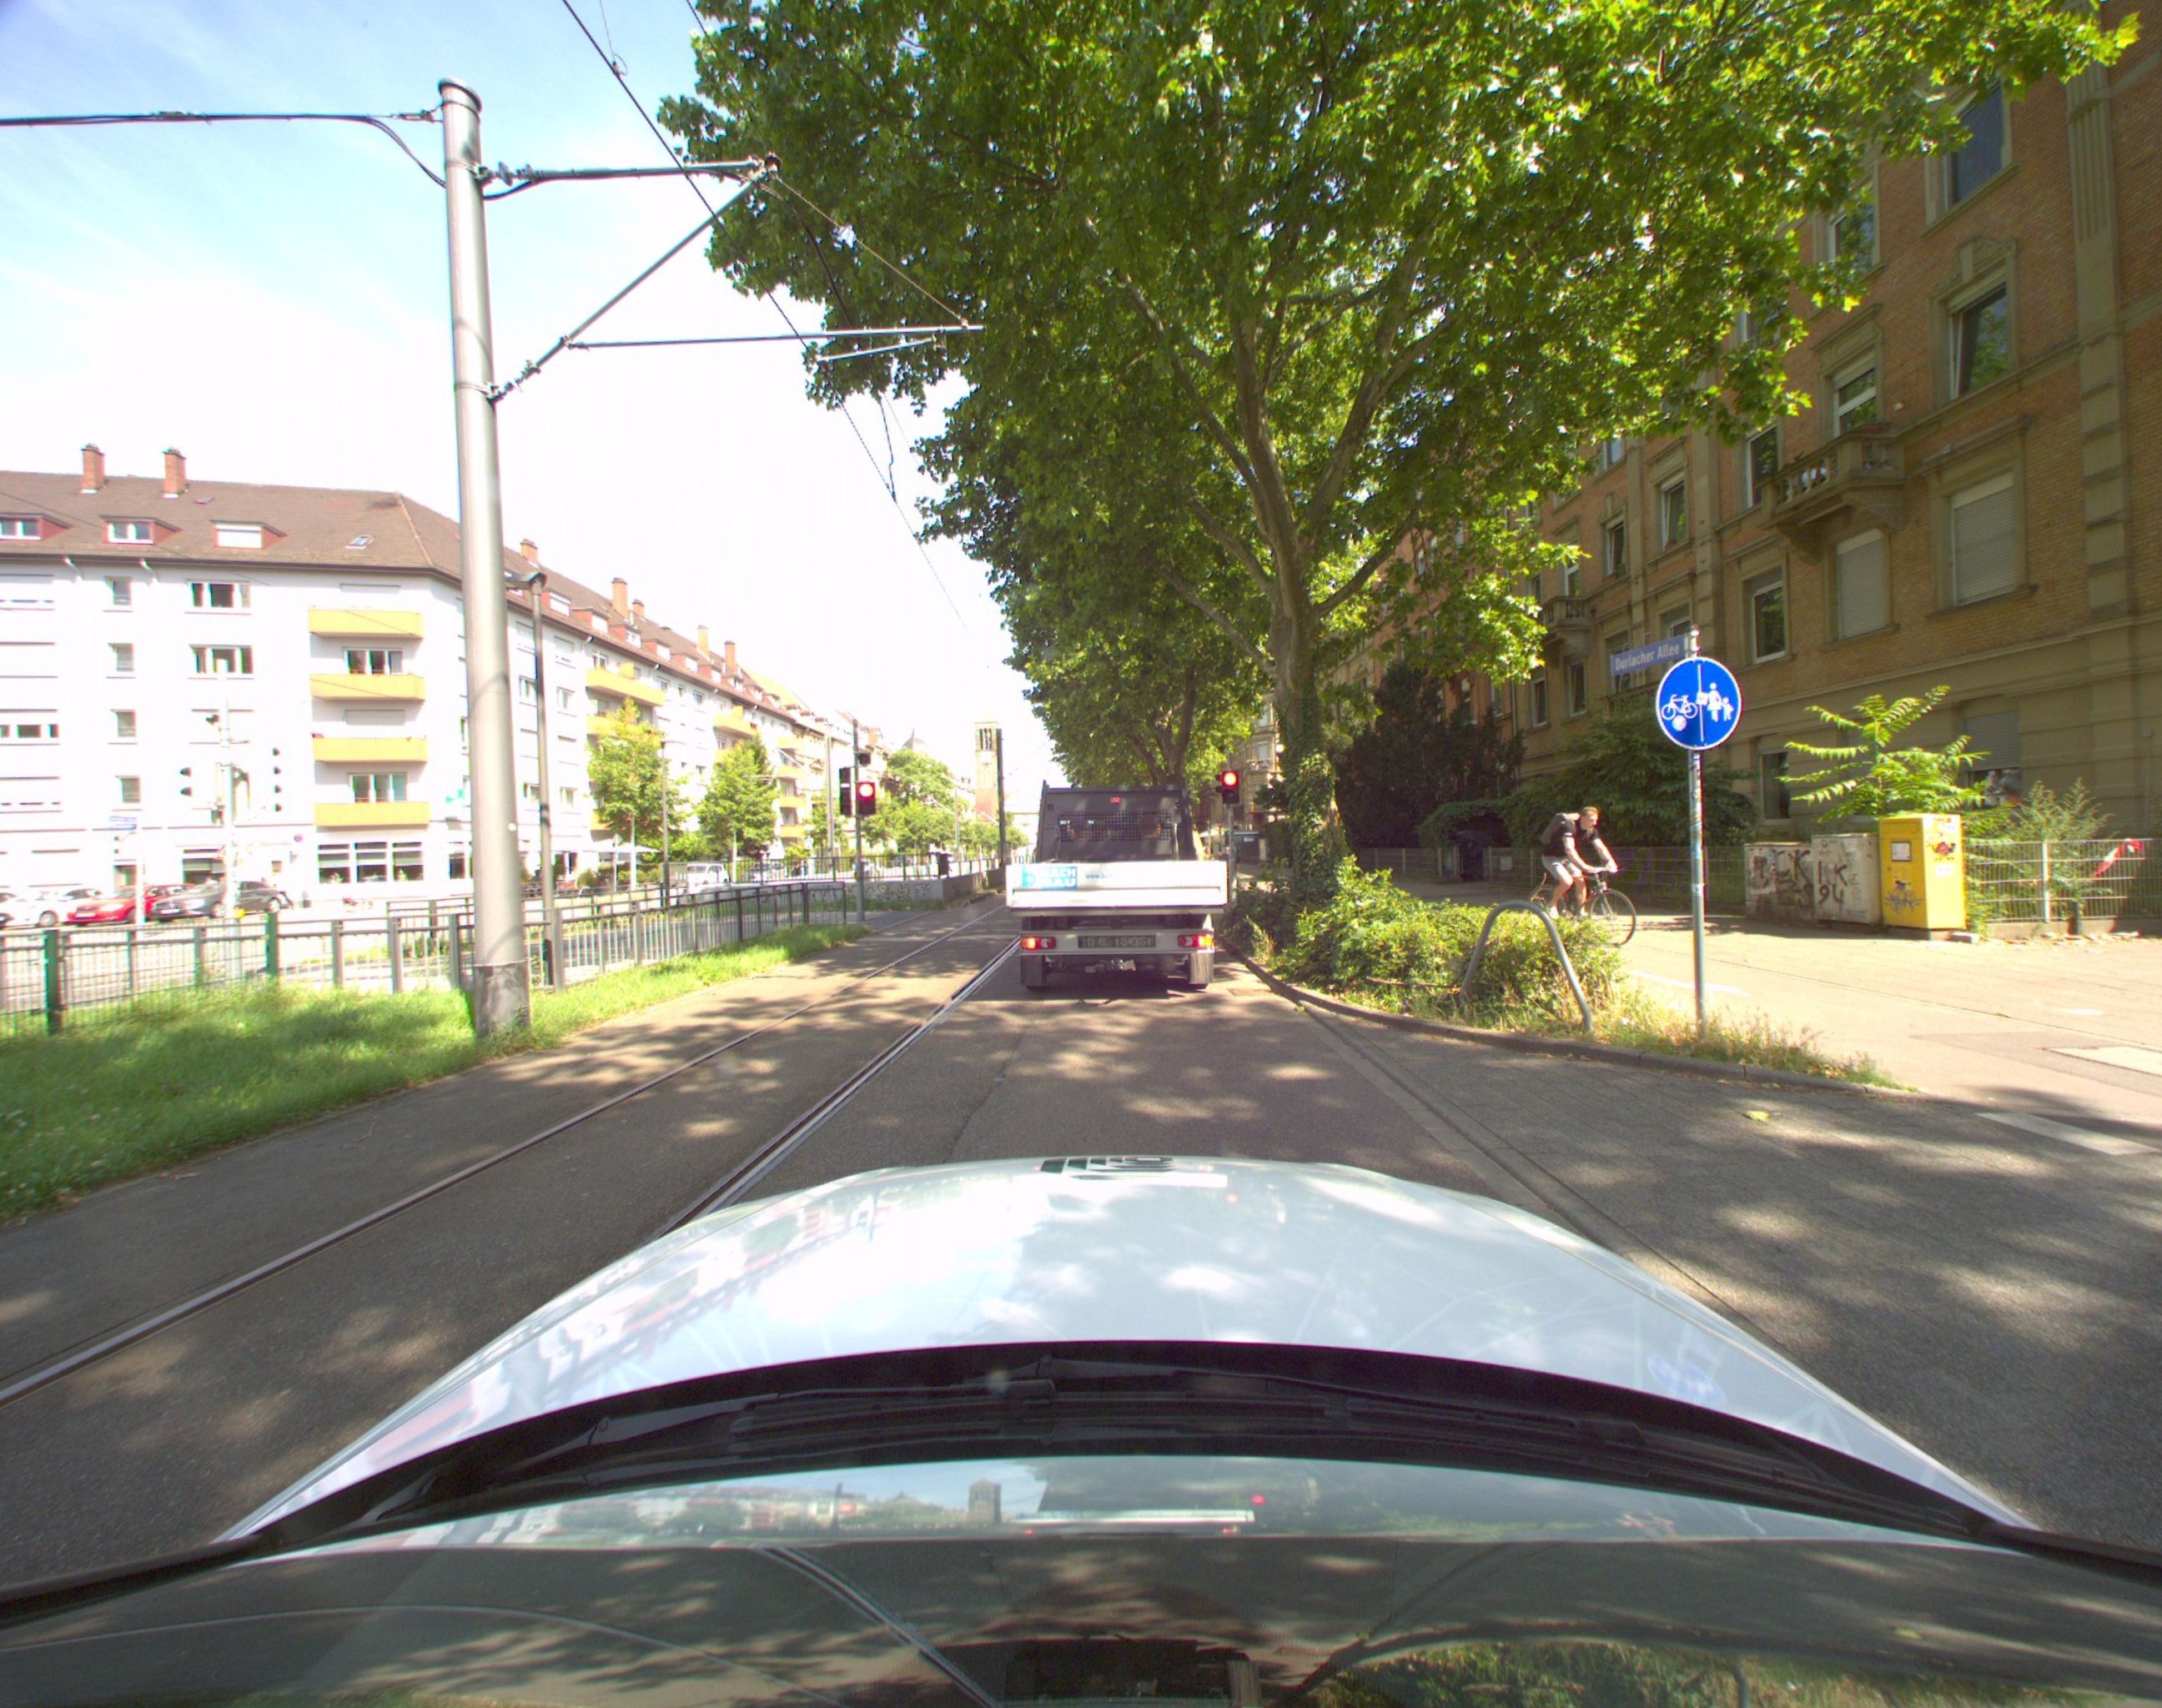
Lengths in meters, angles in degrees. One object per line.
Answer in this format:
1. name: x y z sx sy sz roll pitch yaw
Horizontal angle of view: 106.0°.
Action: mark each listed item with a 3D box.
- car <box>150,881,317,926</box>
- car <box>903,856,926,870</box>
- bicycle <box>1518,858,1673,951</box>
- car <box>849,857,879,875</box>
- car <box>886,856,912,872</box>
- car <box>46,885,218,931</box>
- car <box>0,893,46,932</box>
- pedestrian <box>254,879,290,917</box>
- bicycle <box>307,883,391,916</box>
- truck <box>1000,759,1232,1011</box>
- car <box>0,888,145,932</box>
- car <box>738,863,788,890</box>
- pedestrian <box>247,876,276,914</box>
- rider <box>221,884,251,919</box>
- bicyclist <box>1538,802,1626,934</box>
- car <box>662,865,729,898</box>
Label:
1. car: -33.139 1.889 32.080 1.830 1.376 4.637 -2 0 -4
2. car: -19.396 1.011 94.958 1.764 1.498 4.000 -2 0 0
3. bicycle: 6.496 0.589 10.425 0.530 1.049 1.921 -2 0 -8
4. car: -19.611 1.099 73.746 1.767 1.498 3.994 -2 0 -4
5. car: -19.472 1.044 87.117 1.764 1.498 4.000 -2 0 0
6. car: -36.497 2.014 31.506 1.930 1.406 4.158 -2 0 -6
7. car: -41.835 2.271 30.131 1.930 1.406 4.158 -2 0 -6
8. pedestrian: -35.231 1.899 35.479 0.861 1.572 0.685 -2 0 -22
9. bicycle: -30.076 1.844 33.546 0.908 1.137 2.807 -2 0 -2
10. truck: 0.426 0.278 9.816 2.130 2.319 4.404 -1 0 3
11. car: -39.284 2.124 31.336 1.930 1.406 4.158 -2 0 -6
12. car: -20.307 1.387 52.107 1.767 1.498 3.994 -4 0 -4
13. pedestrian: -35.071 1.740 34.854 0.690 1.572 0.542 -2 0 -22
14. rider: -35.713 2.003 34.438 0.624 1.423 0.587 -2 0 -15
15. bicyclist: 6.461 0.176 10.529 0.622 1.623 0.693 -2 0 -8
16. car: -20.518 1.425 43.525 1.767 1.498 3.994 -4 0 -4
